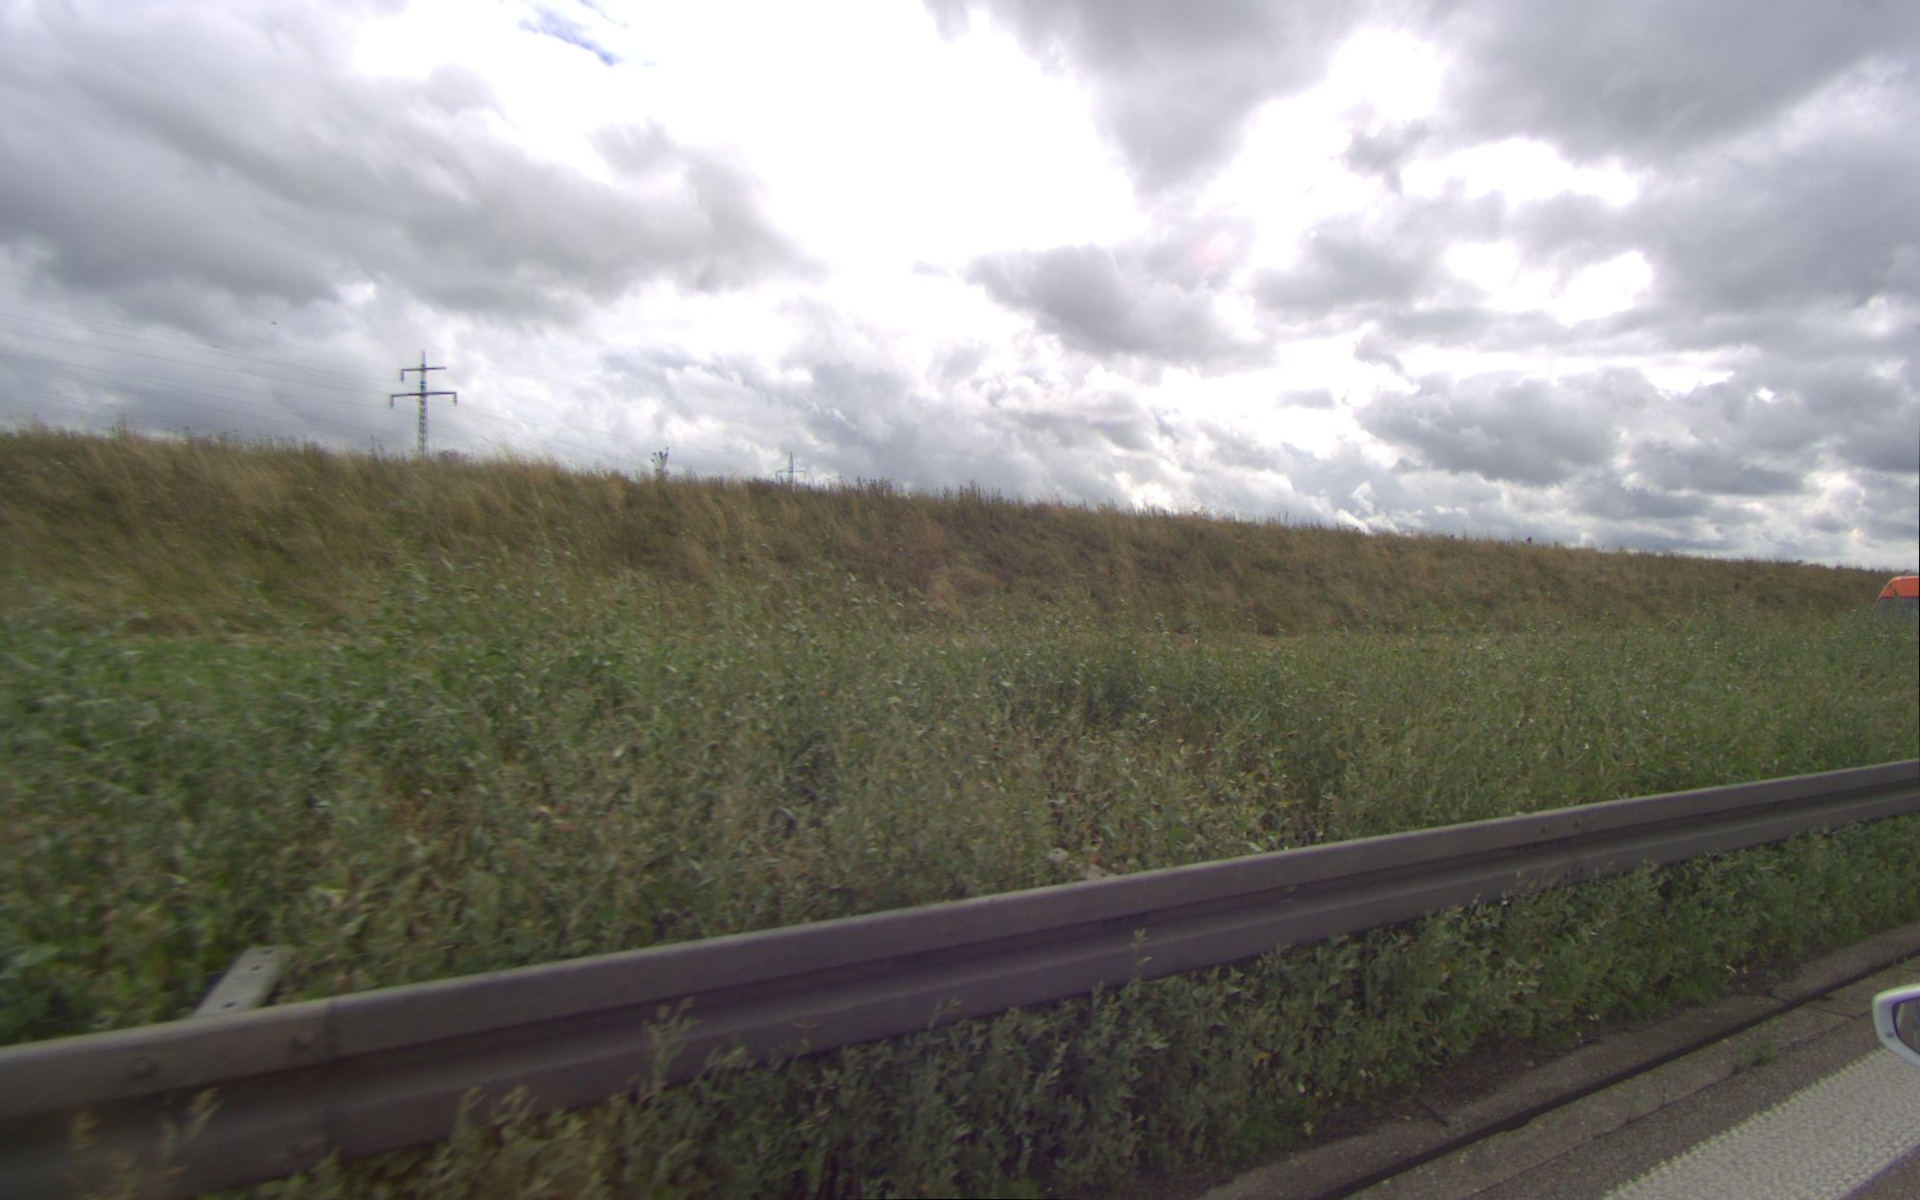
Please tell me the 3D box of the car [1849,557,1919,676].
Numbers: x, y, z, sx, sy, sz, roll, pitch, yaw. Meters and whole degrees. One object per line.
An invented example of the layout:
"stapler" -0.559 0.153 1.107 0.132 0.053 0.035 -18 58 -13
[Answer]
"car" 20.891 0.388 20.798 5.389 2.297 2.113 2 0 -30
